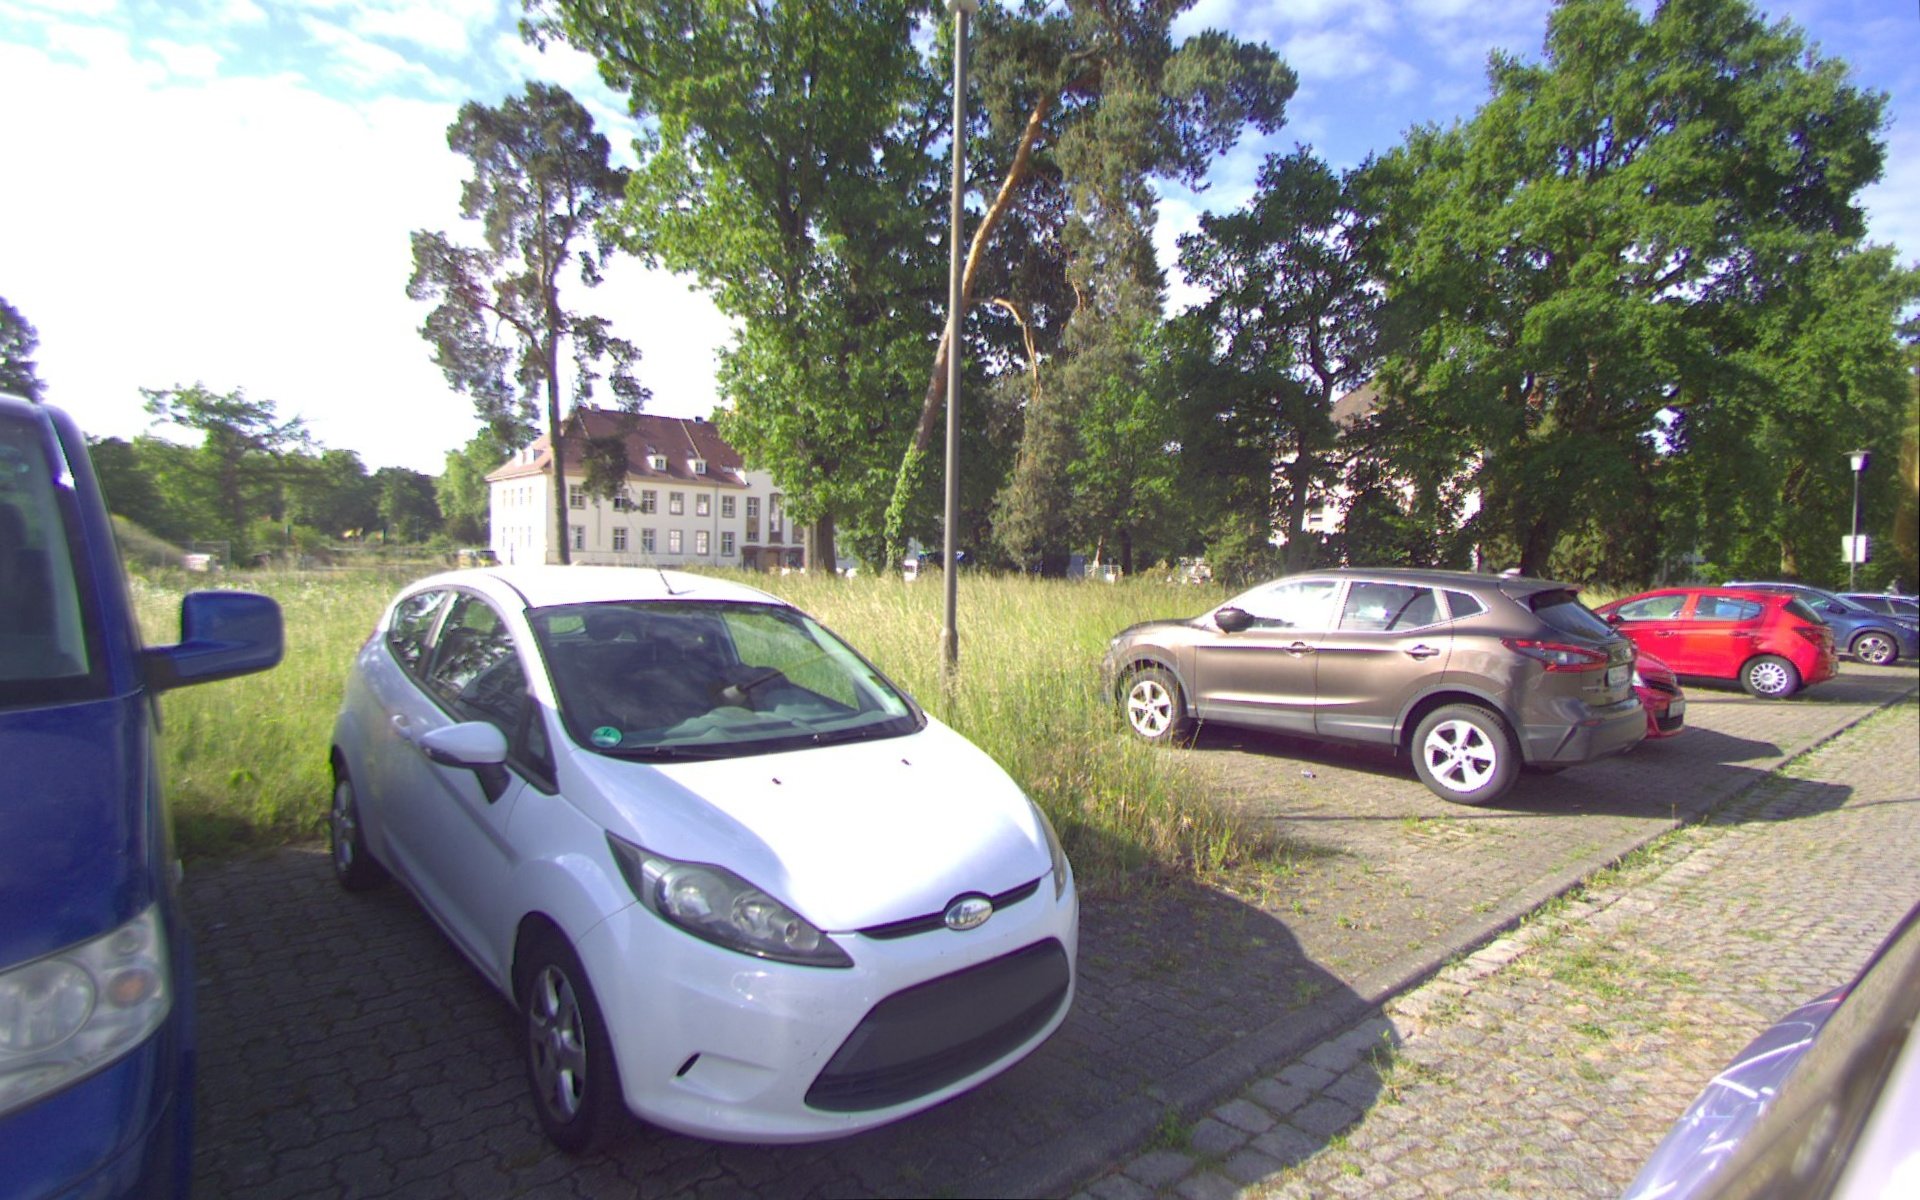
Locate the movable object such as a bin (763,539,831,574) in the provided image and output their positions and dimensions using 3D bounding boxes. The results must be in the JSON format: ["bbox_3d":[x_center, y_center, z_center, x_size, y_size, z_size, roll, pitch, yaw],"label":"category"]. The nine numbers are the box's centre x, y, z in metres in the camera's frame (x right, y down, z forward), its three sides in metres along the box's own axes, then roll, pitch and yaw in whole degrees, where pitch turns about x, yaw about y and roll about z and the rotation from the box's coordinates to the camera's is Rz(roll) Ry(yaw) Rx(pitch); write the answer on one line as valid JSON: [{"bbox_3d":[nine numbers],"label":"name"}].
[{"bbox_3d":[-16.643,-4.439,103.662,6.336,3.342,2.863,-1,0,6],"label":"movable object such as a bin"}]

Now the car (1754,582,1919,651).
[{"bbox_3d":[22.103,0.392,24.631,1.754,1.440,4.095,0,4,-42],"label":"car"}]

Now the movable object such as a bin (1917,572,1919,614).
[{"bbox_3d":[48.710,-0.258,47.691,1.959,2.039,4.882,0,1,-28],"label":"movable object such as a bin"}]

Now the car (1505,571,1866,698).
[{"bbox_3d":[10.804,0.410,15.297,1.821,1.477,4.095,0,4,-42],"label":"car"}]

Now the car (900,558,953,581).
[{"bbox_3d":[-2.869,-2.652,87.731,4.318,1.963,1.905,-1,1,-40],"label":"car"}]

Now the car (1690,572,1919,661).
[{"bbox_3d":[18.415,0.298,21.728,1.821,1.576,4.095,0,3,-42],"label":"car"}]

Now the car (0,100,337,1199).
[{"bbox_3d":[-3.111,0.292,2.481,1.965,1.958,4.708,0,4,-41],"label":"car"}]

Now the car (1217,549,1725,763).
[{"bbox_3d":[5.030,0.363,10.420,1.903,1.617,4.232,-1,5,-43],"label":"car"}]

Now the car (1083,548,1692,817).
[{"bbox_3d":[3.270,0.410,8.387,1.903,1.617,4.231,-1,3,-43],"label":"car"}]

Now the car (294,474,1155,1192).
[{"bbox_3d":[-1.504,0.378,4.526,1.906,1.596,4.407,0,4,-41],"label":"car"}]
